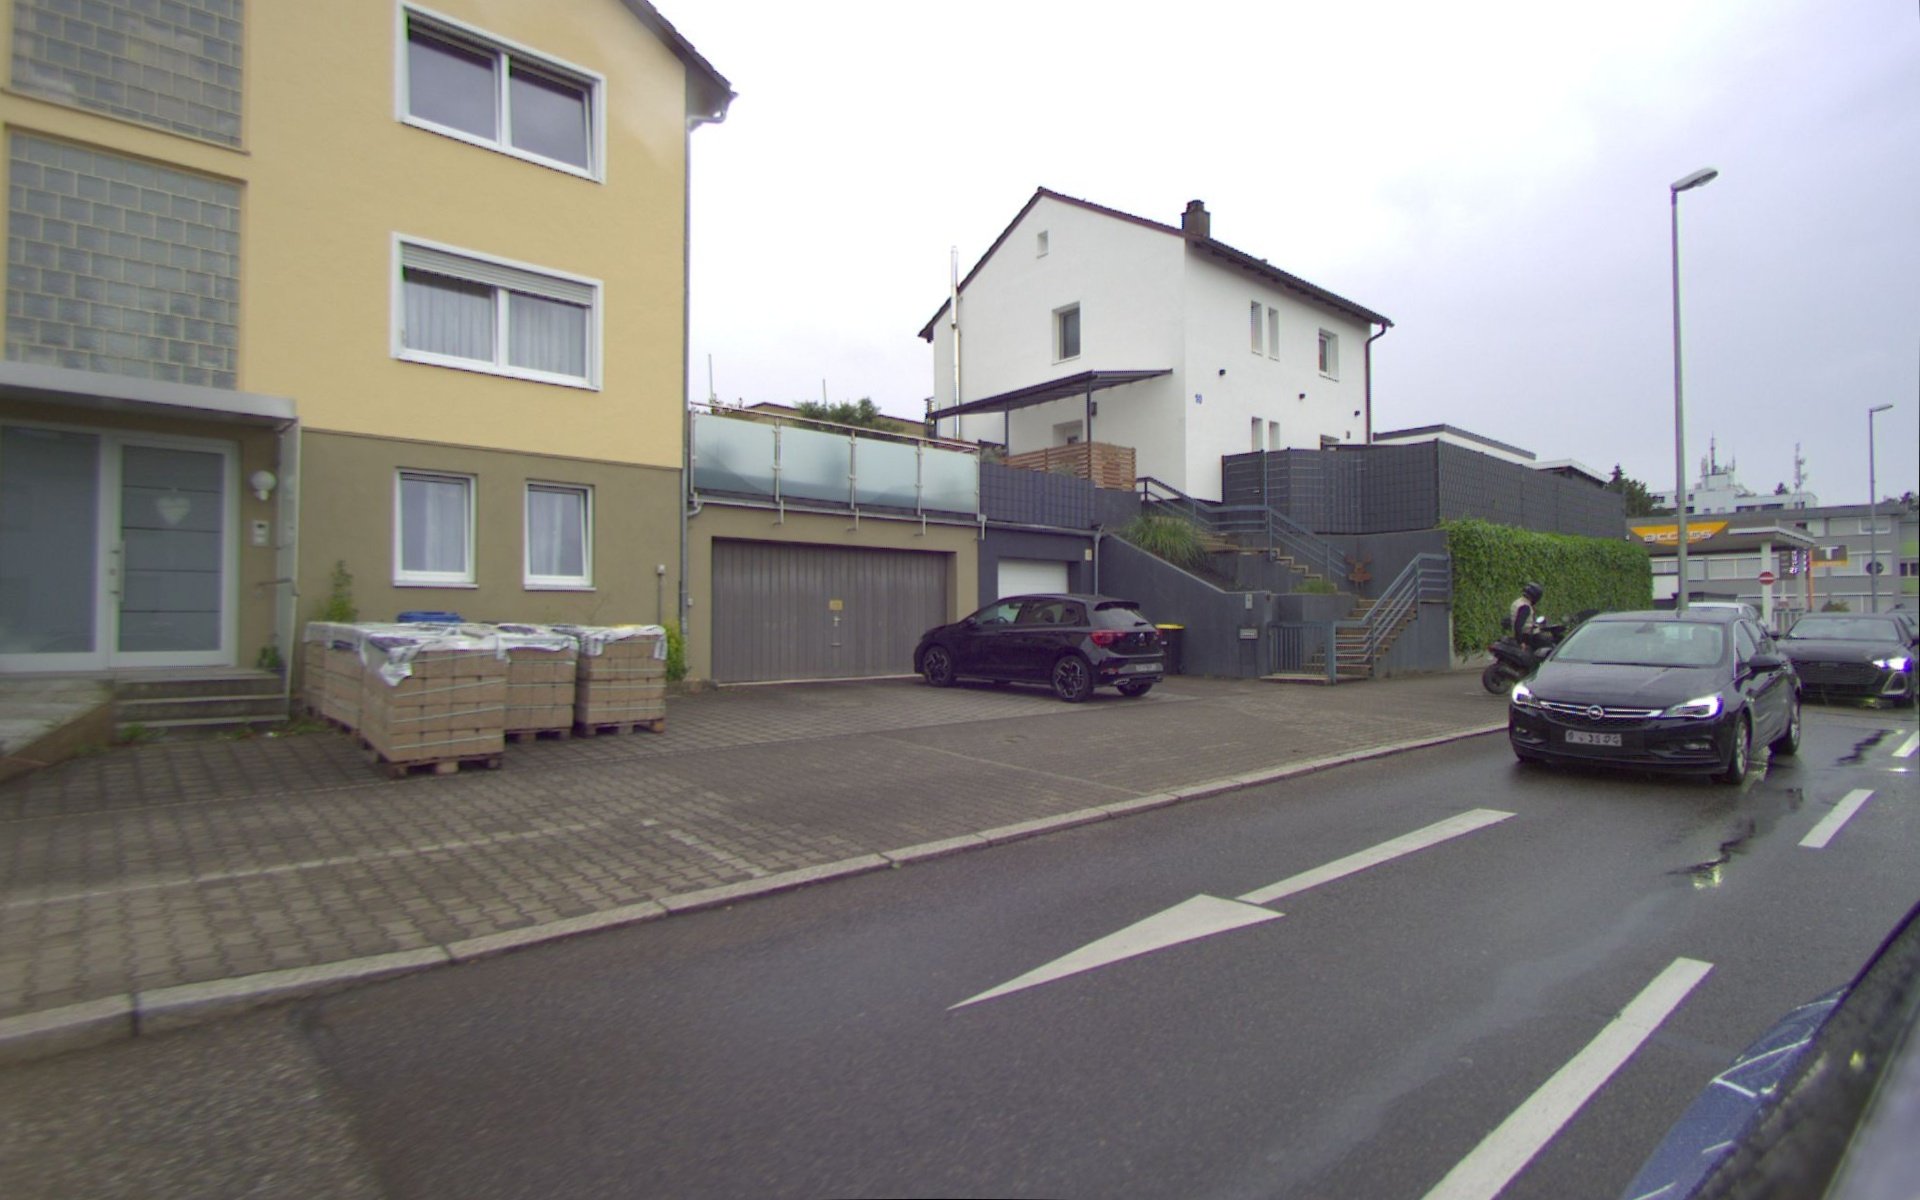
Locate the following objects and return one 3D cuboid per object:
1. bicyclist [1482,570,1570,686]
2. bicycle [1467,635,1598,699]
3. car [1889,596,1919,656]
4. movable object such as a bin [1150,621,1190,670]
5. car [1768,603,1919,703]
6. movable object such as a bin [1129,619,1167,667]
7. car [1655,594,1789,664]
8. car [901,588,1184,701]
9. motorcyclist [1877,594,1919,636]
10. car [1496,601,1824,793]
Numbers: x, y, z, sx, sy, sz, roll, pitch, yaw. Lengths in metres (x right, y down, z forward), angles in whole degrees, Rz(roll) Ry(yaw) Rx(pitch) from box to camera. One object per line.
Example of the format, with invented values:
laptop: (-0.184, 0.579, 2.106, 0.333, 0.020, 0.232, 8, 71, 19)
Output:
bicyclist: (8.452, 0.401, 15.126, 0.888, 1.663, 0.811, 0, 0, -32)
bicycle: (8.627, 0.984, 15.216, 2.190, 0.837, 0.734, 0, 0, -31)
car: (27.376, 0.780, 28.154, 3.929, 1.476, 1.839, 5, -3, -41)
movable object such as a bin: (3.936, 0.848, 18.987, 0.519, 0.890, 0.514, 0, 0, -41)
car: (15.078, 0.772, 16.696, 4.771, 1.416, 1.909, 0, 0, -41)
movable object such as a bin: (3.599, 0.815, 19.390, 0.512, 0.890, 0.514, 0, 0, -41)
car: (17.941, 0.622, 23.784, 3.930, 1.508, 1.735, 0, 0, -41)
car: (1.107, 0.547, 14.867, 3.986, 1.420, 1.648, 1, 1, 43)
motorcyclist: (33.466, 0.520, 35.938, 0.933, 1.440, 0.995, 0, 0, -20)
car: (6.893, 0.751, 9.816, 3.933, 1.415, 1.838, -1, 1, -43)
